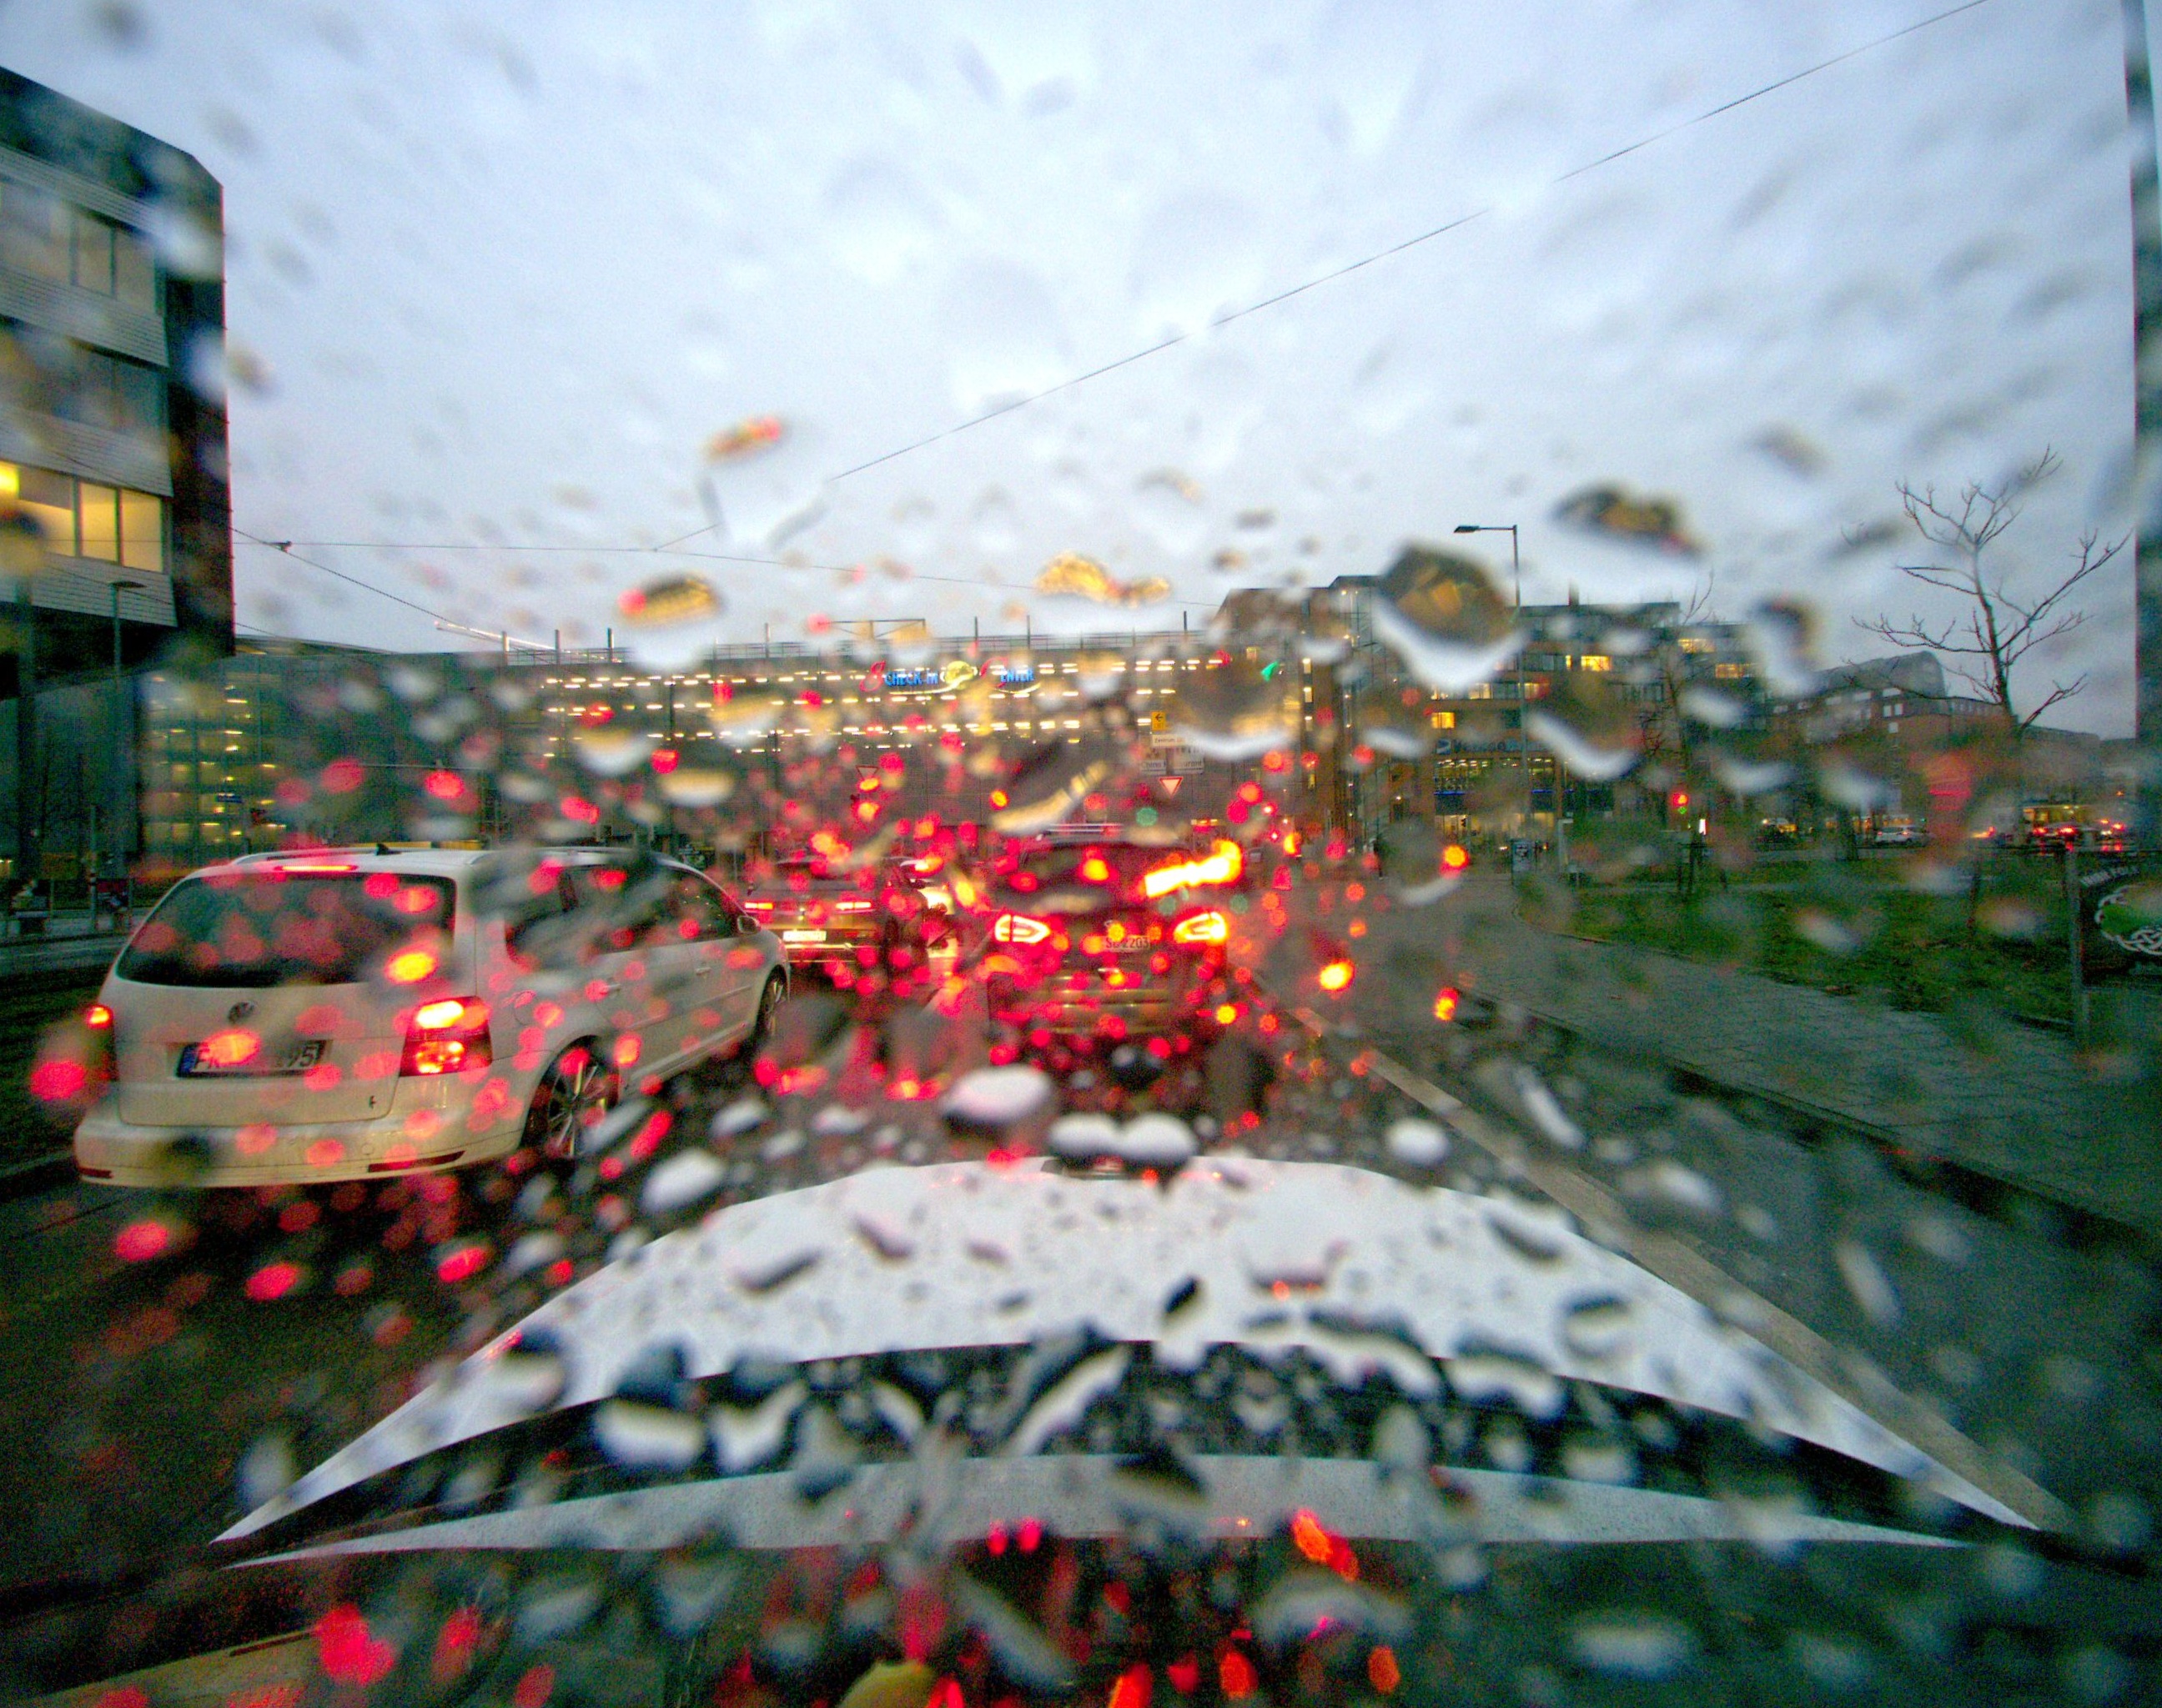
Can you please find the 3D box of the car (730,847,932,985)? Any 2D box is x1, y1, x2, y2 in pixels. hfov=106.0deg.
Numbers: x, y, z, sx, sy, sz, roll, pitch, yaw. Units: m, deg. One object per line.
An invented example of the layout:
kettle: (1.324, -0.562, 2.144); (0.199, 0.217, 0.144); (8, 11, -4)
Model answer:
car: (-3.359, 0.728, 11.858); (1.817, 1.570, 4.355); (-2, 0, -4)

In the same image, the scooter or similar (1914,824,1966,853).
scooter or similar: (36.417, -0.658, 34.545); (1.548, 1.227, 0.669); (0, -1, -4)

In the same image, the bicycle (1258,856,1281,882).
bicycle: (7.349, 0.570, 31.783); (0.651, 0.973, 1.870); (-2, 0, 8)

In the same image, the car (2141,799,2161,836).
car: (87.502, -2.938, 64.510); (6.356, 2.827, 2.348); (-1, 0, -19)

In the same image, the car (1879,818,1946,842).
car: (56.472, -1.609, 55.299); (3.681, 1.496, 1.635); (-2, 0, -17)

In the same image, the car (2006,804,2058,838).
car: (83.507, -2.893, 71.472); (6.386, 2.827, 2.337); (-2, 0, -35)

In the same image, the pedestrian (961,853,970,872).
pedestrian: (-11.016, 0.802, 77.568); (0.786, 1.787, 0.732); (-2, 0, -3)

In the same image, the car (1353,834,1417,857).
car: (24.927, -0.709, 66.780); (4.634, 1.677, 1.781); (-2, 0, -8)

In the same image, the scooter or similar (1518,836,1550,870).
scooter or similar: (16.957, -0.043, 30.480); (1.312, 1.206, 0.331); (-2, 0, -27)

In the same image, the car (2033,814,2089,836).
car: (71.441, -2.084, 59.387); (3.470, 1.520, 1.513); (-1, 0, -19)

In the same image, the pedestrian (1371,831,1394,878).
pedestrian: (12.310, 0.023, 33.211); (0.766, 1.877, 0.639); (-2, 0, 24)

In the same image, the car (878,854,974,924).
car: (-3.592, 0.759, 19.491); (1.754, 1.463, 3.912); (-1, 0, -4)

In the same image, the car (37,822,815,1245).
car: (-3.257, 0.695, 5.318); (1.666, 1.599, 4.221); (-2, 0, -1)

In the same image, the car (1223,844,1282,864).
car: (13.928, -0.015, 66.148); (4.320, 1.486, 1.863); (-2, 0, -5)

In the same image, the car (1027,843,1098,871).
car: (-1.392, 0.209, 61.206); (4.969, 1.871, 1.890); (-2, 0, -24)

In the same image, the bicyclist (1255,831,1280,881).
bicyclist: (7.259, 0.092, 31.727); (0.786, 1.890, 0.991); (-2, 0, 7)

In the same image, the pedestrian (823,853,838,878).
pedestrian: (-24.288, 1.105, 79.013); (1.106, 2.439, 0.966); (0, -1, 1)

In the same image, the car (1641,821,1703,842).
car: (52.839, -1.978, 72.795); (4.600, 1.719, 1.921); (-2, 0, -13)

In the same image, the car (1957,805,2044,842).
car: (64.869, -2.162, 57.451); (5.975, 2.427, 1.986); (-2, 0, -20)

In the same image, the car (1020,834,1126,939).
car: (-0.237, 0.565, 16.759); (1.839, 1.806, 4.483); (-2, 0, -2)

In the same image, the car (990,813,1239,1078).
car: (0.276, 0.610, 7.469); (1.668, 1.779, 4.001); (0, 0, 1)

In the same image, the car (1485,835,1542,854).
car: (36.681, -0.792, 69.064); (4.418, 1.444, 1.620); (-2, 0, -16)

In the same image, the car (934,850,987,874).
car: (-10.447, 0.684, 70.761); (4.351, 1.871, 1.902); (-2, 0, -5)
